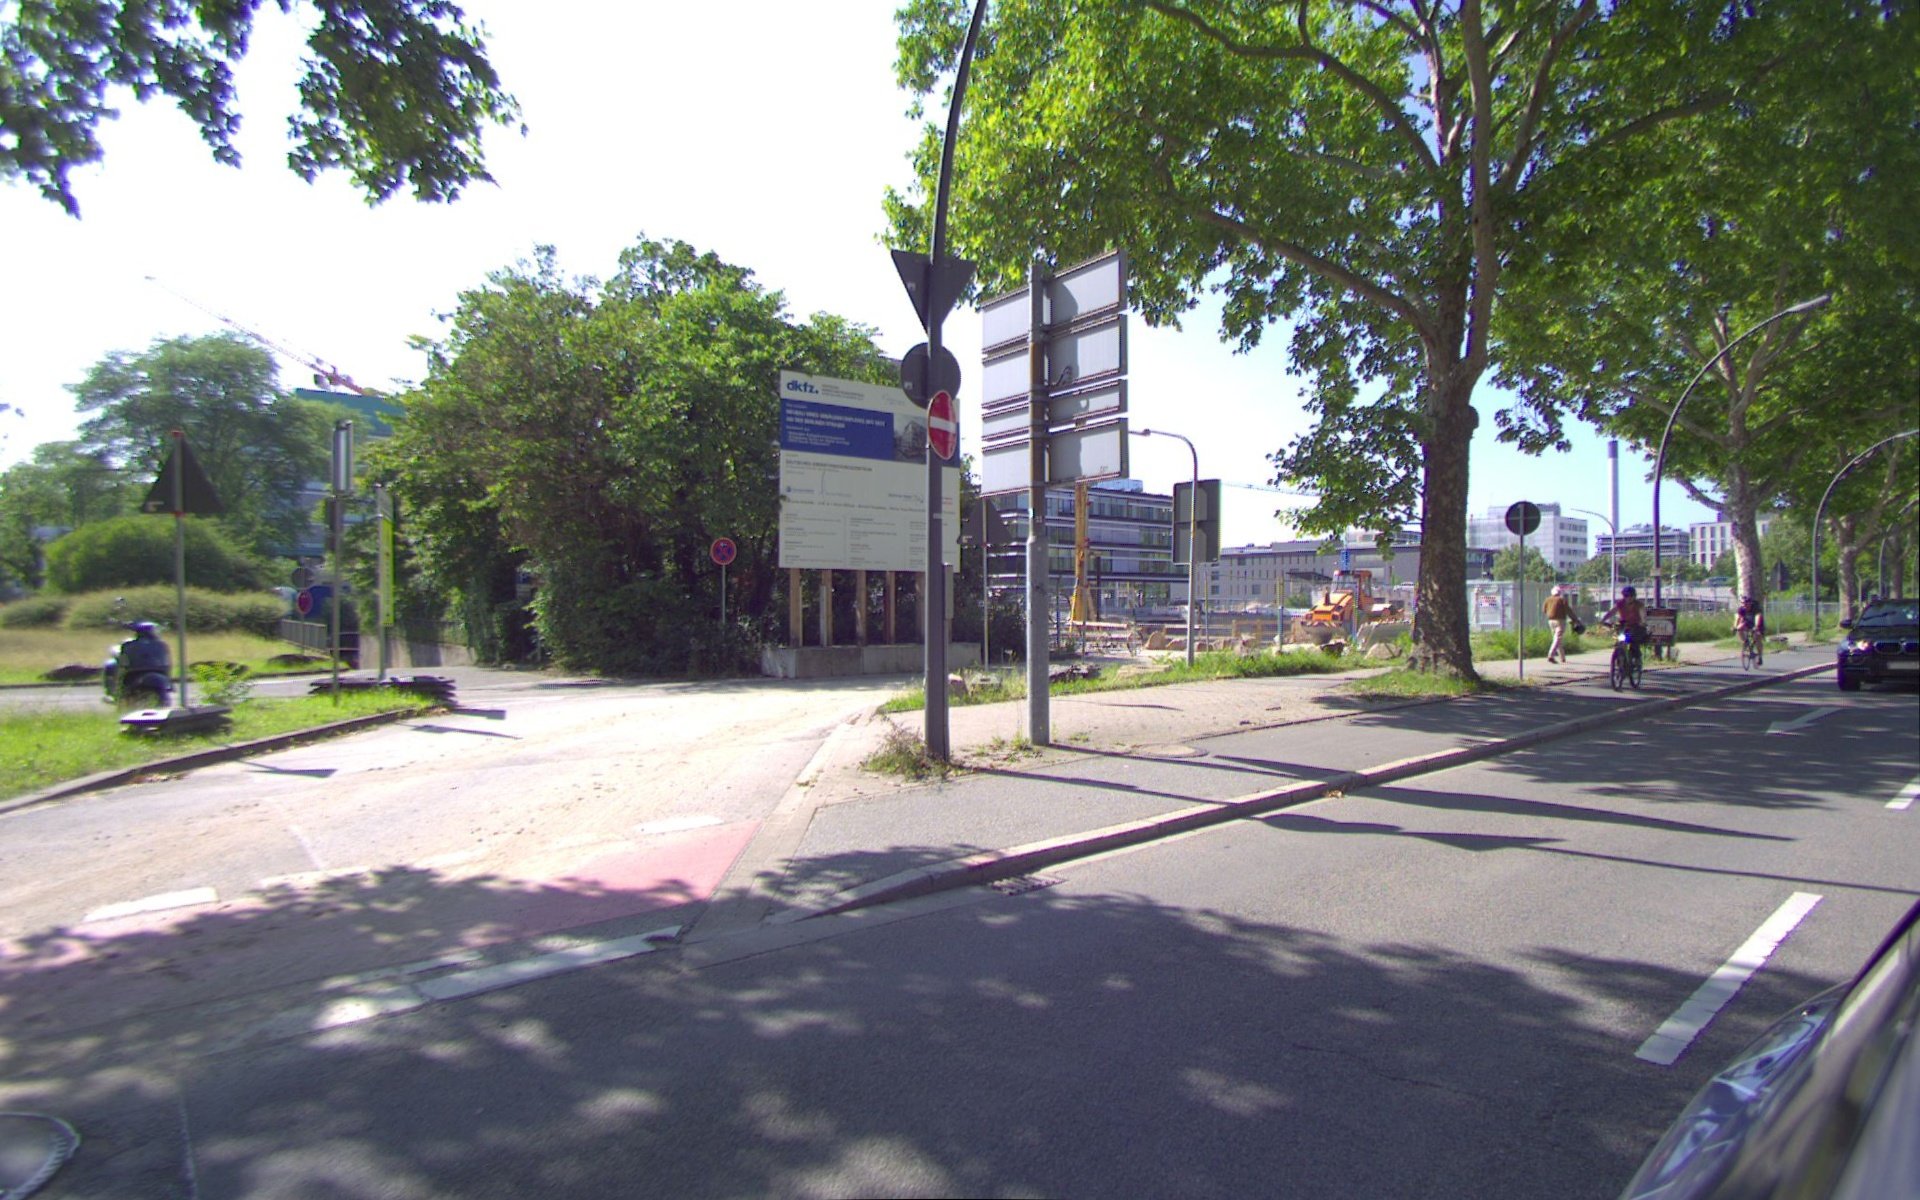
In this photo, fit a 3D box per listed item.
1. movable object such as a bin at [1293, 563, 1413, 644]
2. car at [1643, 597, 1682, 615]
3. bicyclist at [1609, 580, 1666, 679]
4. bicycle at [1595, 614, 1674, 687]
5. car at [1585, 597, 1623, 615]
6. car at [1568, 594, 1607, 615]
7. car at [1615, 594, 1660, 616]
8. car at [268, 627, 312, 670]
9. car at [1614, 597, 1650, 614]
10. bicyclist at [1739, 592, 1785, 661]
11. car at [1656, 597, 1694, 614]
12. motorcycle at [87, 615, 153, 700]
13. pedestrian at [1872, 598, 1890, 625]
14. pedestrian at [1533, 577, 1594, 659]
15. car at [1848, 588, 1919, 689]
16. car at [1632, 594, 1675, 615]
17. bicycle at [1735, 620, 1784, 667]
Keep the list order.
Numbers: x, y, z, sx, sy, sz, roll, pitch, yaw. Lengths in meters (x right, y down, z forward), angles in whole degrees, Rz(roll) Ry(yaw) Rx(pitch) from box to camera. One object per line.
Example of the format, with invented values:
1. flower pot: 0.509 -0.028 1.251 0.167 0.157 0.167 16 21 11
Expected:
1. movable object such as a bin: 16.215 0.171 41.588 5.886 3.111 2.370 1 -1 -44
2. car: 94.302 0.819 135.919 1.779 2.352 3.989 1 -1 -44
3. bicyclist: 11.543 0.489 17.249 0.720 1.620 0.620 1 1 -43
4. bicycle: 11.494 0.829 17.222 1.912 1.143 0.652 0 1 -42
5. car: 86.538 0.801 136.065 1.779 2.352 3.989 1 -1 -44
6. car: 81.511 0.578 131.451 1.779 2.774 3.989 1 -1 -44
7. car: 85.176 0.606 127.267 1.779 2.774 4.366 1 -1 -44
8. car: -39.763 2.809 60.034 1.739 2.343 4.515 0 -1 -39
9. car: 96.452 0.823 145.288 1.779 2.352 3.989 1 -1 -44
10. bicyclist: 18.343 0.597 23.148 1.194 1.508 0.599 1 2 -43
11. car: 99.939 0.832 141.474 1.779 2.352 3.989 1 -1 -44
12. motorcycle: -10.190 0.673 12.265 1.219 0.980 0.464 -1 -1 43
13. pedestrian: 58.401 0.725 64.169 1.048 1.746 0.710 1 -1 -43
14. pedestrian: 14.470 0.424 24.262 1.131 1.917 0.940 1 -1 -41
15. car: 18.295 0.669 18.984 4.079 1.752 1.922 0 -1 -41
16. car: 90.320 0.618 131.884 1.779 2.774 4.366 1 -1 -44
17. bicycle: 18.263 0.969 23.096 1.751 0.992 0.598 1 2 -43
